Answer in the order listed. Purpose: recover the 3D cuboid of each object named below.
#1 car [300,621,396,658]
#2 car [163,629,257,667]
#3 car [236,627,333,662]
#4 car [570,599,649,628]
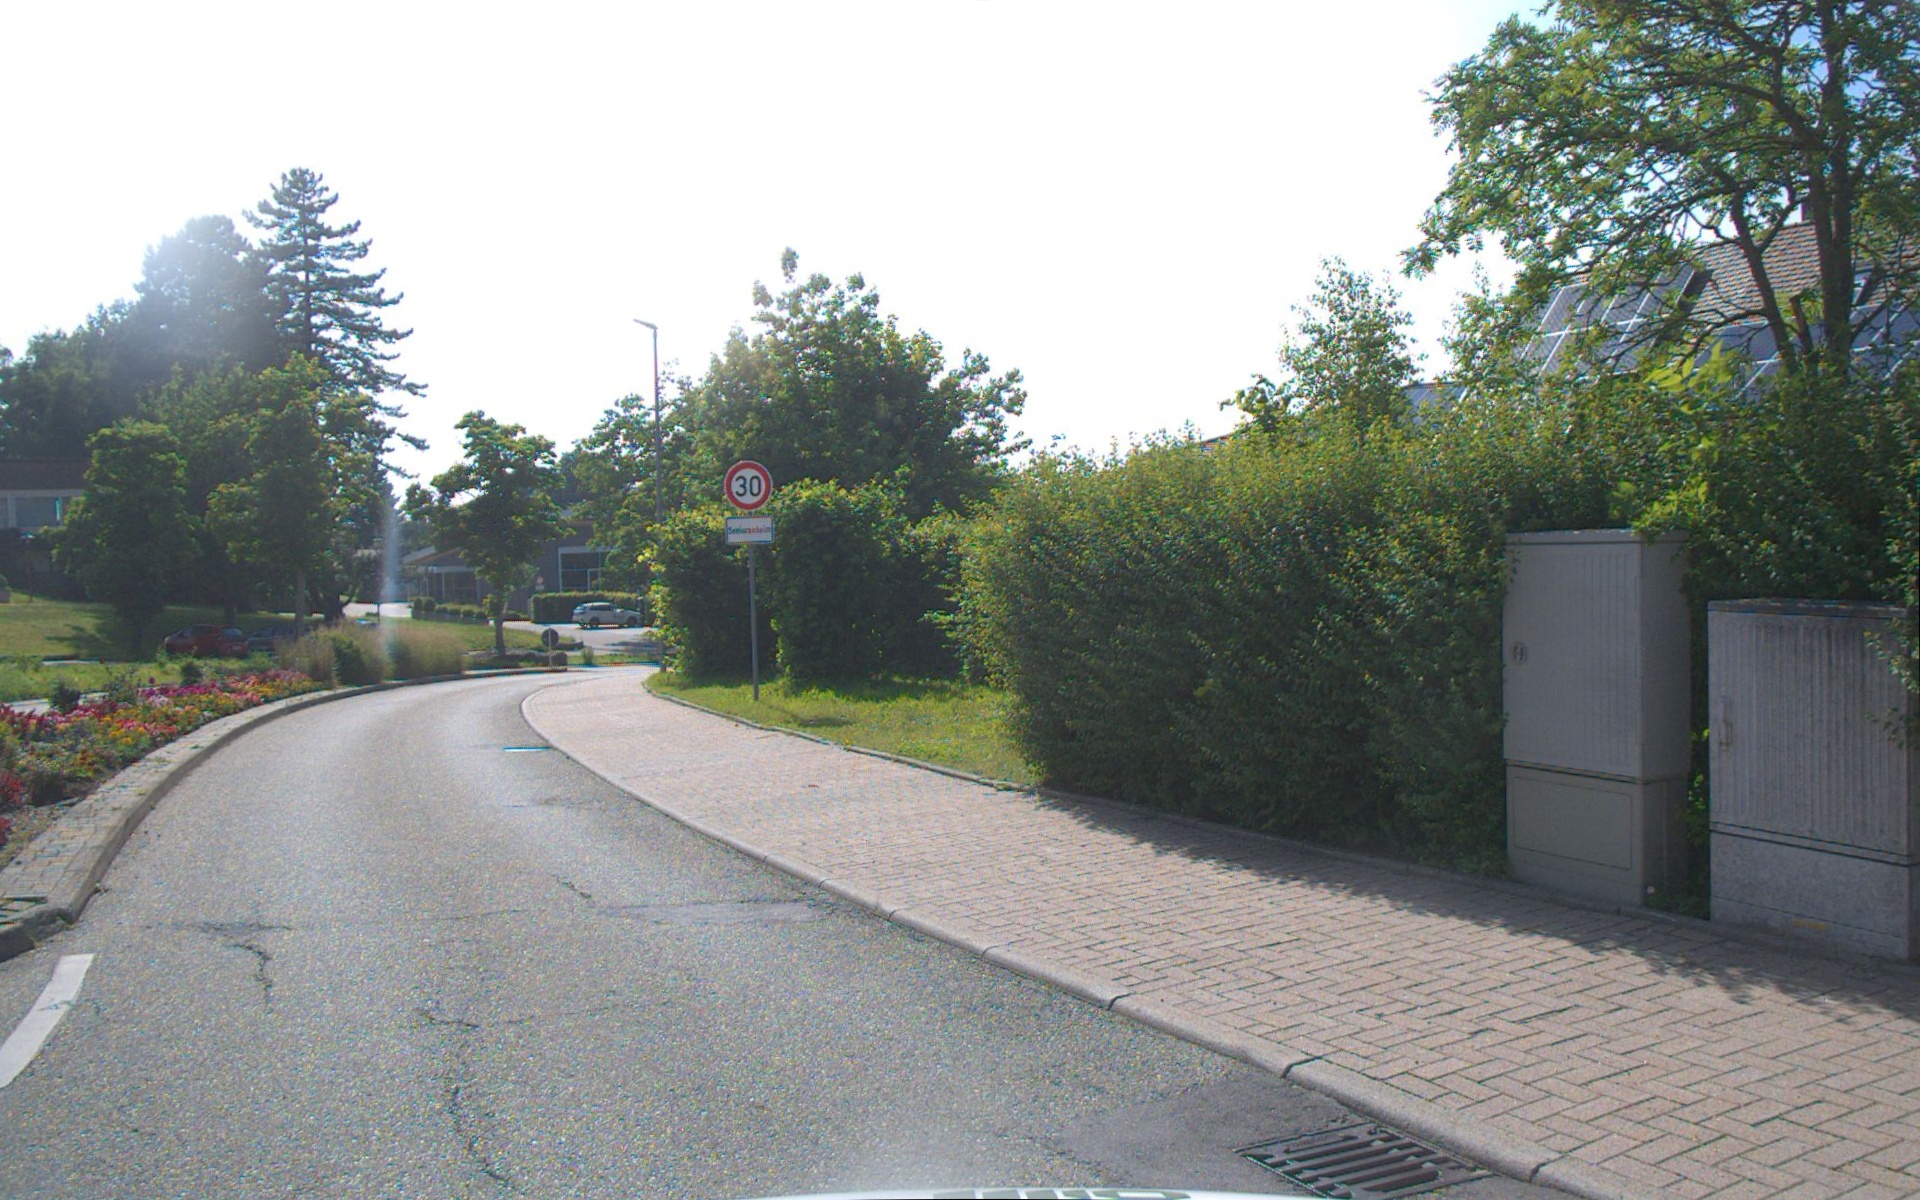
[{"bbox_3d":[-27.794,1.774,75.160,3.847,1.637,1.776,0,-1,20],"label":"car"},{"bbox_3d":[-30.930,1.980,68.223,3.131,1.496,1.777,0,-1,19],"label":"car"},{"bbox_3d":[-29.130,1.900,71.315,3.625,1.459,1.776,0,-1,21],"label":"car"},{"bbox_3d":[-22.868,0.861,107.861,4.680,1.560,1.975,-3,5,-37],"label":"car"}]
